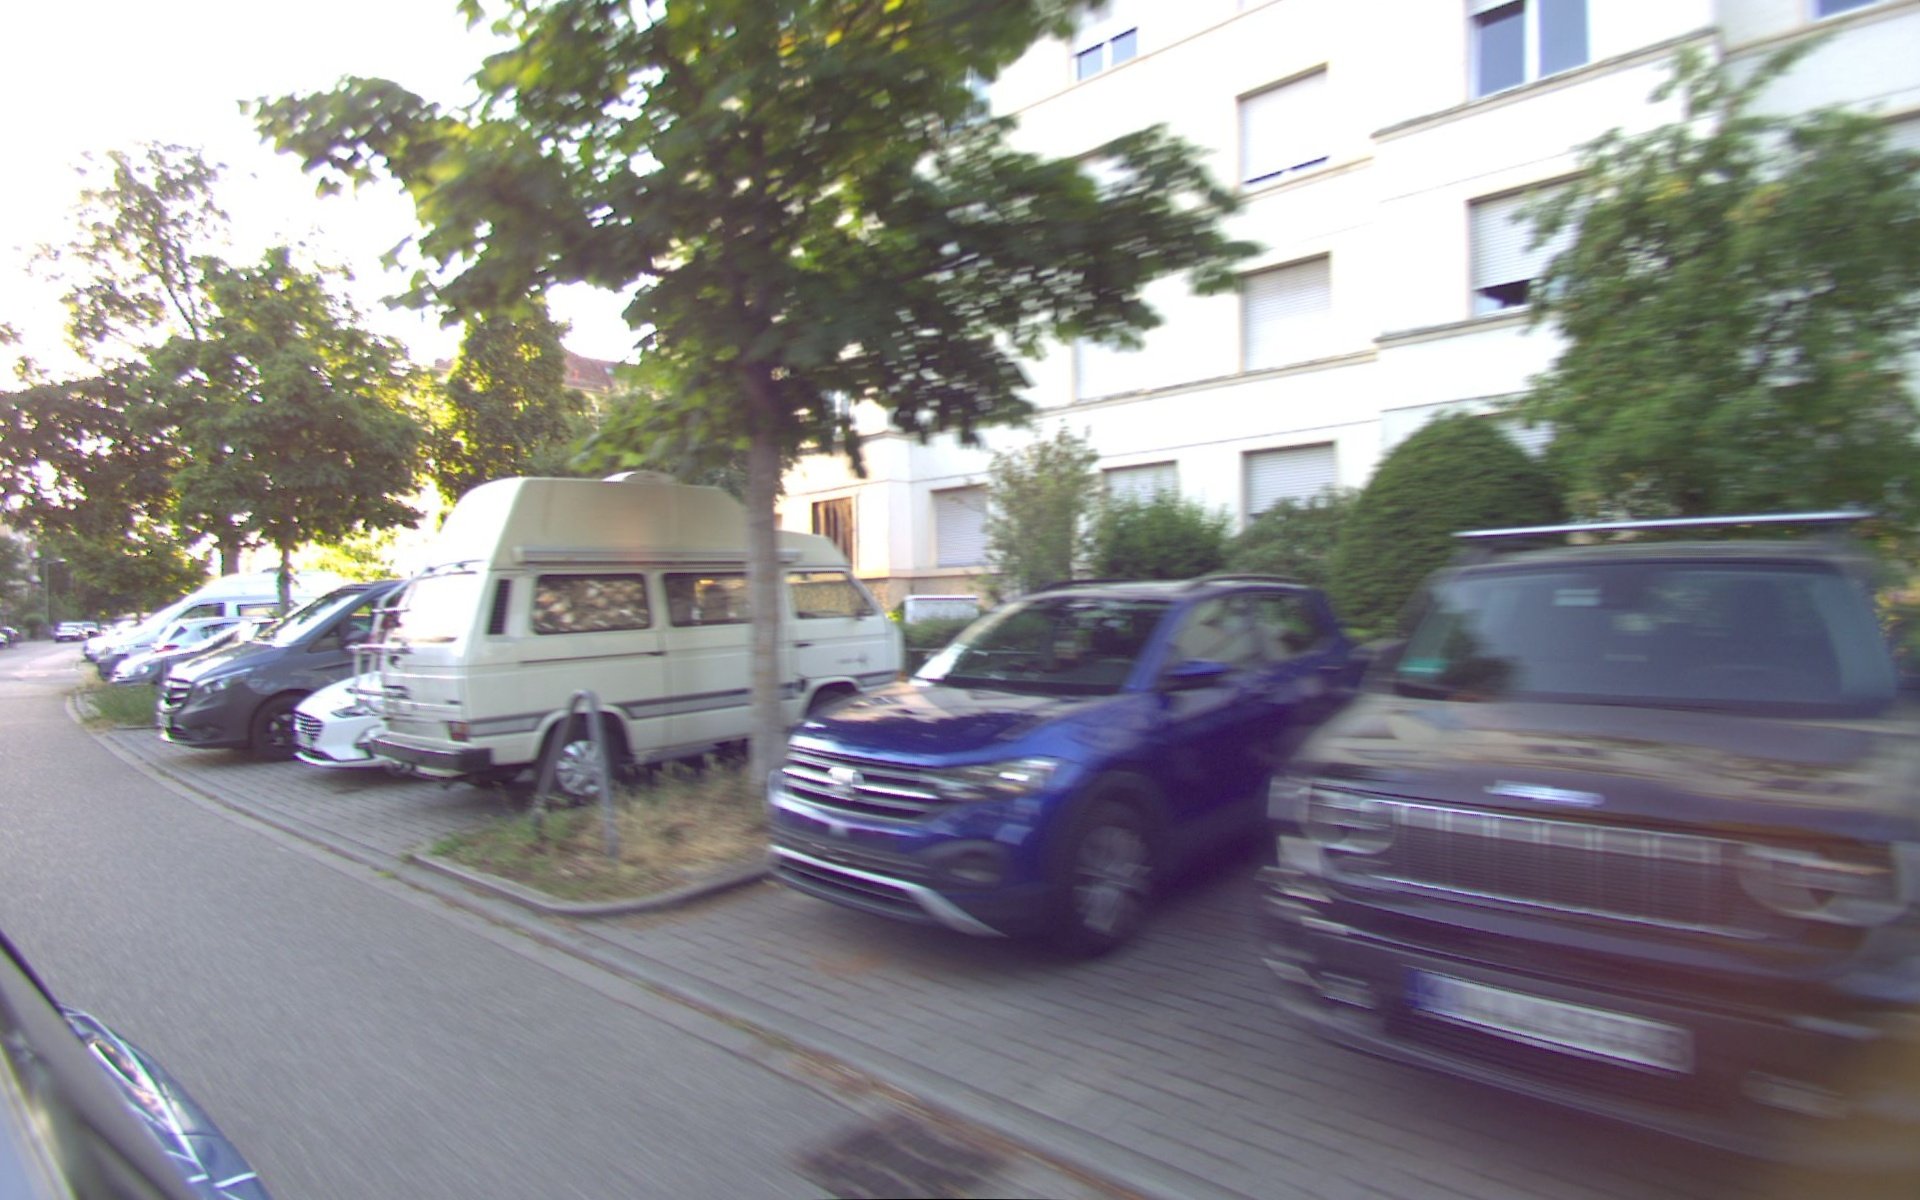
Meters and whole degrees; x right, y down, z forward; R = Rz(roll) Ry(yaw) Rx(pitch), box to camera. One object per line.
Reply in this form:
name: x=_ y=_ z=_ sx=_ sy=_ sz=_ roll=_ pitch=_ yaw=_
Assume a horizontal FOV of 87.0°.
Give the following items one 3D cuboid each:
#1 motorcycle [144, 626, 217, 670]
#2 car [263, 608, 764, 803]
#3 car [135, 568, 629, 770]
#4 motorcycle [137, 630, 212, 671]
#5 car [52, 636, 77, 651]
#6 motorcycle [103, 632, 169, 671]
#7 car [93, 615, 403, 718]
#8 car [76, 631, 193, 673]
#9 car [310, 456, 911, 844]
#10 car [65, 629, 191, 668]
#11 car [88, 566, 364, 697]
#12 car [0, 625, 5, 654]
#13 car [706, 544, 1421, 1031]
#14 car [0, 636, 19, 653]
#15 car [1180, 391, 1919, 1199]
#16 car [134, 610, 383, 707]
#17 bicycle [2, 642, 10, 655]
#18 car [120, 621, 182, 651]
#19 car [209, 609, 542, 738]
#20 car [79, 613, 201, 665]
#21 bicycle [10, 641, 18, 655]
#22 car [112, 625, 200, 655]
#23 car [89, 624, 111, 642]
motorcycle: x=-30.505 y=1.874 z=39.635 sx=2.202 sy=1.594 sz=0.775 roll=-1 pitch=-1 yaw=-38
car: x=-4.257 y=0.867 z=10.129 sx=2.000 sy=1.436 sz=4.130 roll=-2 pitch=-1 yaw=42
car: x=-6.527 y=0.633 z=11.867 sx=2.000 sy=1.888 sz=4.623 roll=-2 pitch=-1 yaw=42
motorcycle: x=-29.890 y=1.904 z=38.543 sx=2.202 sy=1.447 sz=0.775 roll=-1 pitch=-1 yaw=-38
car: x=-87.879 y=4.219 z=99.317 sx=1.707 sy=1.386 sz=3.769 roll=-1 pitch=-1 yaw=-40
motorcycle: x=-32.815 y=2.021 z=40.321 sx=0.722 sy=1.447 sz=1.963 roll=-2 pitch=-1 yaw=45
car: x=-12.184 y=1.057 z=17.493 sx=4.193 sy=1.404 sz=1.686 roll=-2 pitch=0 yaw=-42
car: x=-33.834 y=2.088 z=41.565 sx=3.666 sy=1.517 sz=1.693 roll=-1 pitch=-1 yaw=-39
car: x=-2.735 y=0.306 z=8.730 sx=2.000 sy=2.449 sz=4.453 roll=-2 pitch=-1 yaw=43
car: x=-37.425 y=2.146 z=45.669 sx=4.272 sy=1.416 sz=1.855 roll=-4 pitch=1 yaw=-39
car: x=-16.089 y=0.612 z=22.351 sx=4.676 sy=2.589 sz=2.002 roll=-1 pitch=-1 yaw=-44
car: x=-73.791 y=3.004 z=74.367 sx=4.894 sy=2.117 sz=2.156 roll=-1 pitch=0 yaw=-35
car: x=0.817 y=0.612 z=5.362 sx=1.786 sy=1.607 sz=3.818 roll=-2 pitch=-1 yaw=43
car: x=-91.378 y=4.271 z=96.795 sx=1.773 sy=1.535 sz=4.006 roll=-1 pitch=-1 yaw=-40
car: x=2.587 y=0.503 z=3.657 sx=1.842 sy=1.790 sz=3.820 roll=-2 pitch=-1 yaw=41
car: x=-13.702 y=1.071 z=19.891 sx=3.760 sy=1.534 sz=1.654 roll=-4 pitch=1 yaw=-44
bicycle: x=-76.378 y=3.880 z=81.008 sx=0.352 sy=1.031 sz=1.975 roll=-1 pitch=-1 yaw=-40
car: x=-73.357 y=3.233 z=91.837 sx=4.345 sy=2.576 sz=1.936 roll=-1 pitch=-1 yaw=-38
car: x=-8.105 y=0.931 z=14.257 sx=1.656 sy=1.450 sz=3.727 roll=-2 pitch=0 yaw=43
car: x=-40.179 y=1.886 z=49.740 sx=4.455 sy=2.085 sz=2.004 roll=-5 pitch=0 yaw=-37
bicycle: x=-76.018 y=3.832 z=81.343 sx=0.352 sy=1.108 sz=1.975 roll=-1 pitch=-1 yaw=-40
car: x=-57.308 y=2.840 z=72.266 sx=4.790 sy=2.070 sz=2.005 roll=1 pitch=-2 yaw=-36
car: x=-102.935 y=3.938 z=121.145 sx=1.969 sy=2.029 sz=4.006 roll=-1 pitch=-1 yaw=-40
